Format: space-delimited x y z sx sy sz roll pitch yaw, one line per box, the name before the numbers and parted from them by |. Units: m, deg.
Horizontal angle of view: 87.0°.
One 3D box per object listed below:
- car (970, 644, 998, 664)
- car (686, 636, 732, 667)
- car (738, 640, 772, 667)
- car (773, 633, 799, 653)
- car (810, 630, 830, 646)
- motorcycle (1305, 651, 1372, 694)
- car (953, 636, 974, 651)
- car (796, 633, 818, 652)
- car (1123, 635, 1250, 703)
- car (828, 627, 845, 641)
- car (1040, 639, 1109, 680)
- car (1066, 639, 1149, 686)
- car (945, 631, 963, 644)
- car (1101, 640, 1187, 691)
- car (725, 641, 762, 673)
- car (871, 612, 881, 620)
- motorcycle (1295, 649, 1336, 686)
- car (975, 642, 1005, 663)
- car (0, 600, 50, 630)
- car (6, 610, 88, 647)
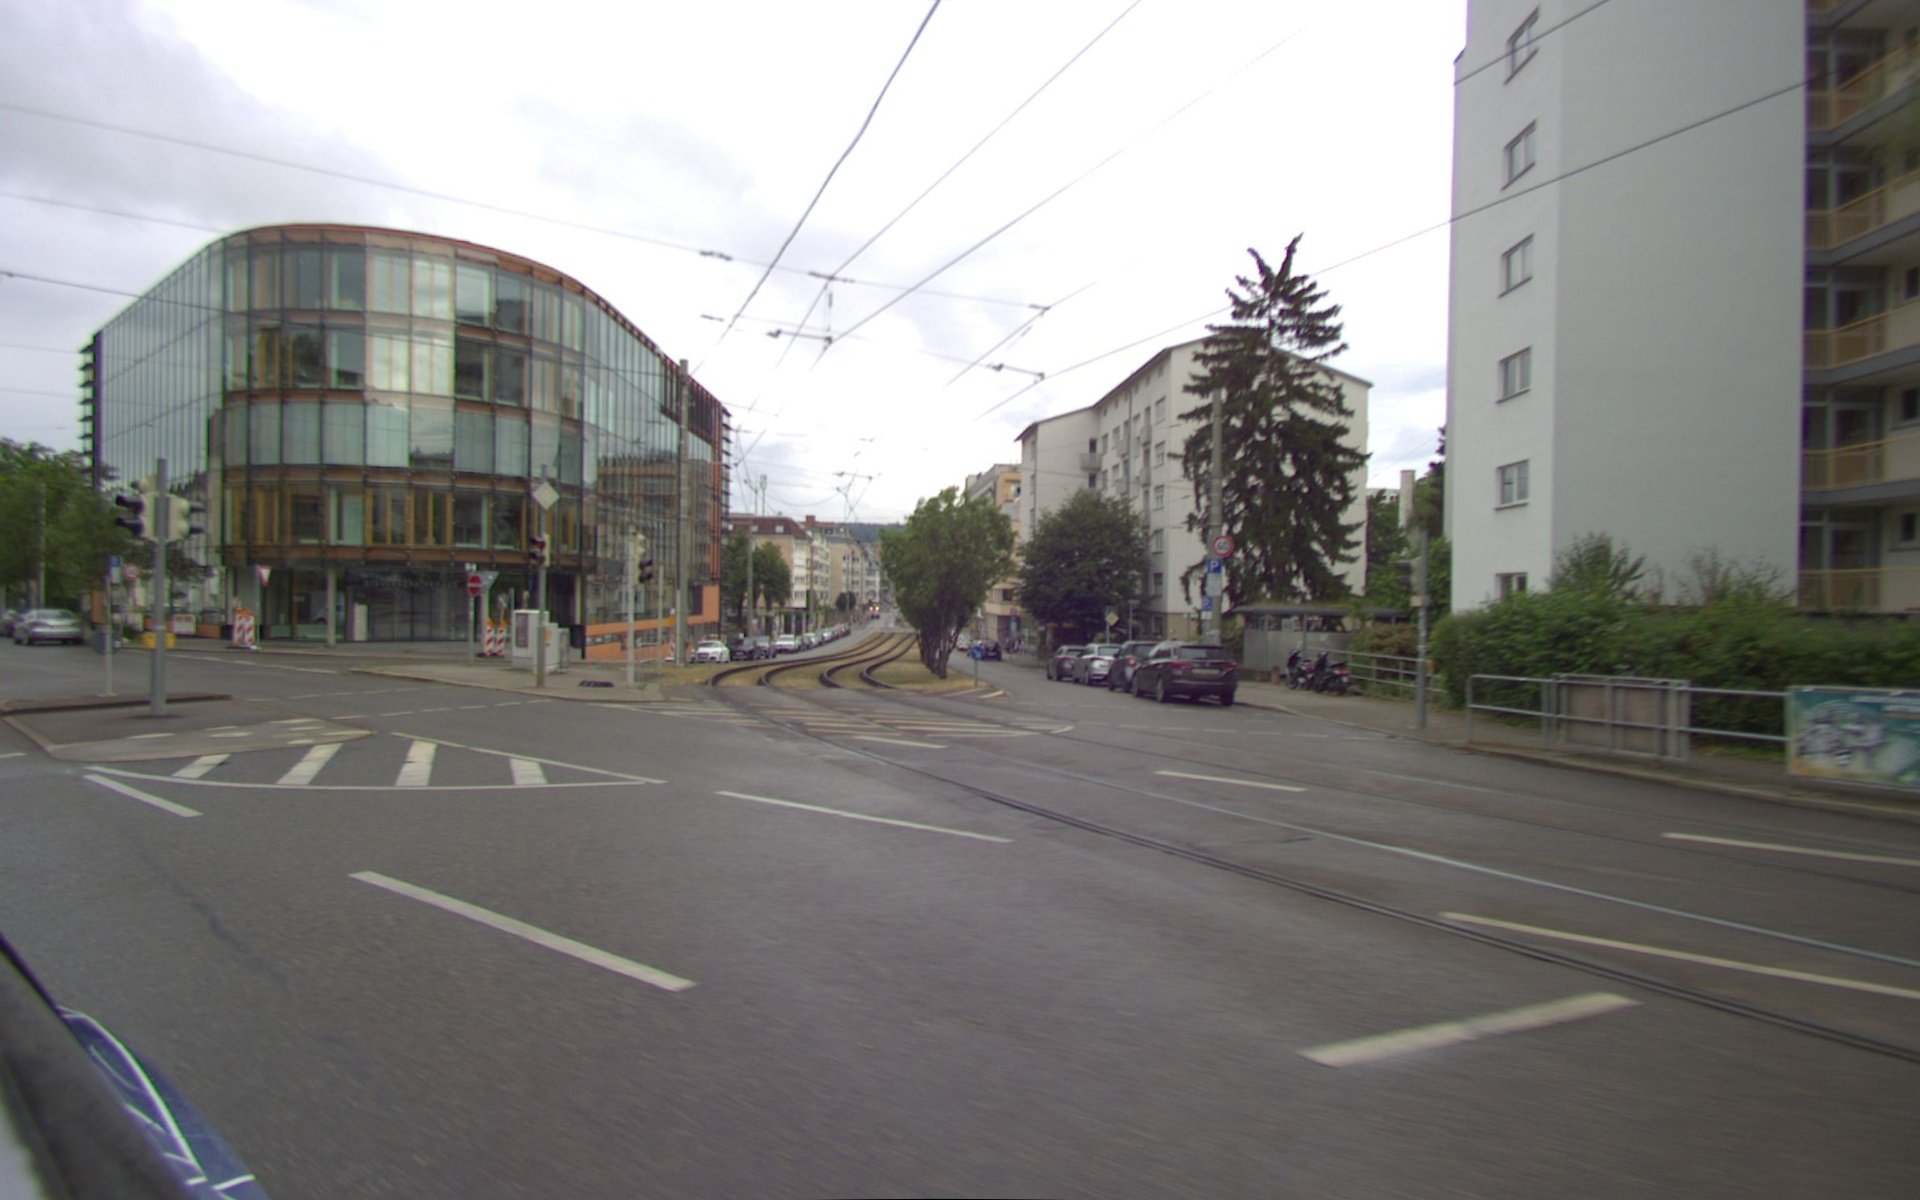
car | 1.969 4.561 85.115 1.970 1.520 4.315 0 -4 -4
car | -15.062 3.076 60.883 1.890 1.507 4.001 0 1 -1
car | -15.647 4.074 77.341 1.890 1.763 4.001 0 1 -1
car | -15.765 3.910 91.633 1.764 1.520 4.001 0 1 -1
car | -16.358 4.411 118.510 1.890 1.763 4.001 0 -1 -1
motorcycle | 9.805 1.862 26.296 0.767 0.947 2.237 -2 -1 -3
car | 0.367 4.637 107.801 1.970 1.520 4.315 0 -4 -4
car | -16.192 4.515 107.210 1.890 1.763 4.001 0 1 -1
car | 5.503 1.654 25.194 1.846 1.472 4.496 2 -2 -4
car | -16.394 4.553 134.638 1.890 1.763 4.000 0 -3 -1
car | 4.512 2.421 40.653 1.970 1.520 4.315 0 -4 -4
car | 5.087 2.158 35.419 1.970 1.519 4.315 0 -2 -4
car | -0.740 4.753 127.423 1.970 1.520 4.315 0 -4 -4
car | 5.335 1.878 29.642 1.783 1.403 2.895 0 -2 -4
car | -15.313 4.016 71.772 1.890 1.907 4.001 0 1 -1
car | -19.405 3.741 233.585 1.890 1.763 4.001 0 1 -1
motorcycle | 10.174 1.905 28.925 0.894 0.947 2.216 1 -1 25
car | 2.330 4.128 79.401 1.970 1.520 4.315 0 -4 -4
car | -48.410 0.781 51.942 4.322 1.475 1.707 0 -1 36
car | -37.236 1.124 41.253 4.641 1.405 1.839 0 -1 40
